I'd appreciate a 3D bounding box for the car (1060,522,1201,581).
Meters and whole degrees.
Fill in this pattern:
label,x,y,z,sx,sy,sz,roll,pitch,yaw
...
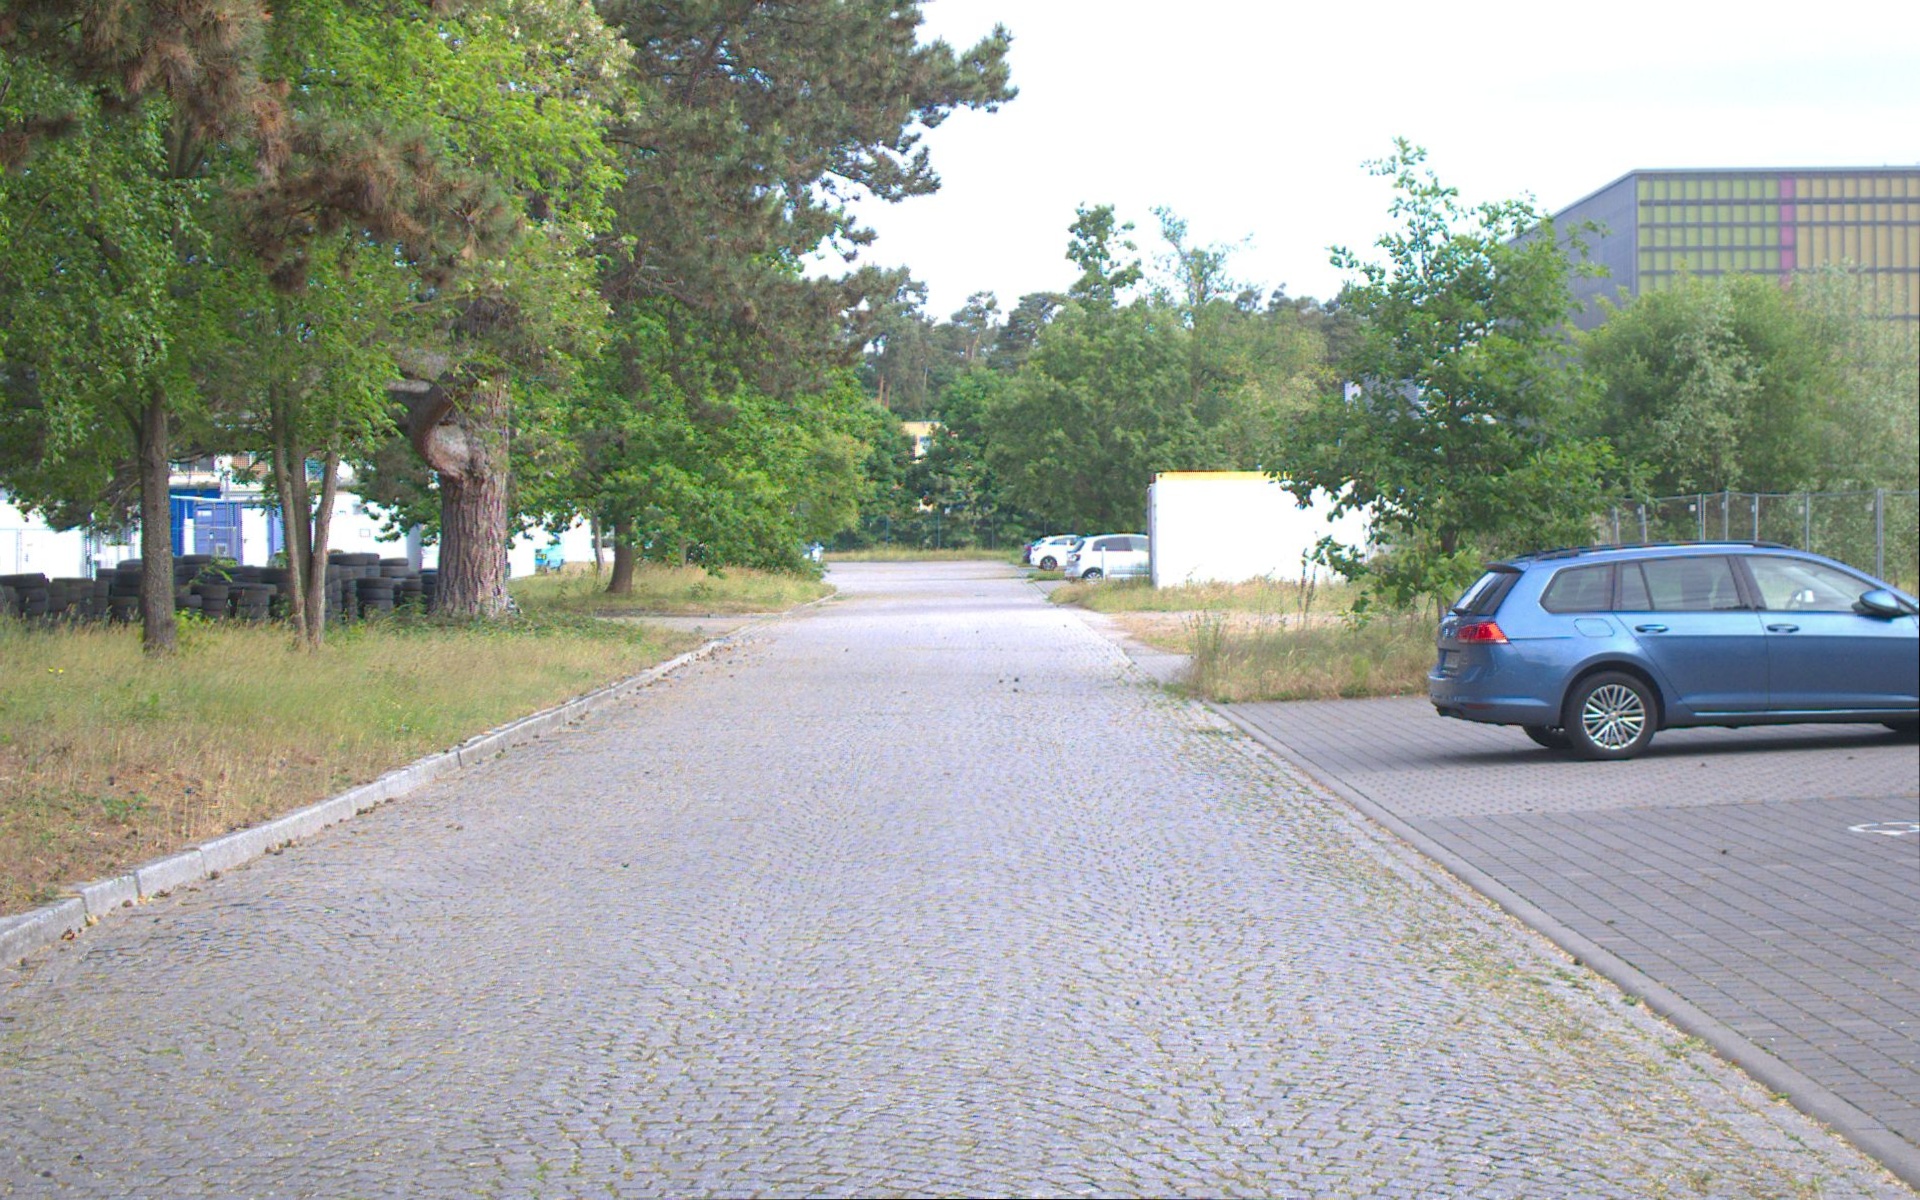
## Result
label,x,y,z,sx,sy,sz,roll,pitch,yaw
car,4.854,-1.403,98.141,3.849,1.649,1.686,0,1,-2

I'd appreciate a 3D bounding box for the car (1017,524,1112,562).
label,x,y,z,sx,sy,sz,roll,pitch,yaw
car,4.539,-2.484,149.843,3.986,1.596,1.729,0,1,-2

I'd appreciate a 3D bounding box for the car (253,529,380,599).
label,x,y,z,sx,sy,sz,roll,pitch,yaw
car,-13.719,-0.792,73.443,1.767,1.448,3.488,0,1,5

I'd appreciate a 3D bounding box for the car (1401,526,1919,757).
label,x,y,z,sx,sy,sz,roll,pitch,yaw
car,5.589,0.252,24.612,4.521,1.438,1.824,-2,1,-3

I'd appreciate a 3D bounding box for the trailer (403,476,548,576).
label,x,y,z,sx,sy,sz,roll,pitch,yaw
trailer,-15.541,-2.393,110.882,3.159,3.057,8.784,0,1,2

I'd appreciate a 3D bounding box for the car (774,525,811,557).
label,x,y,z,sx,sy,sz,roll,pitch,yaw
car,-7.940,-2.809,163.393,1.735,1.464,4.046,0,1,-2

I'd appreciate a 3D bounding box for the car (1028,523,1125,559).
label,x,y,z,sx,sy,sz,roll,pitch,yaw
car,4.884,-2.488,144.285,4.025,1.496,1.548,0,1,1
